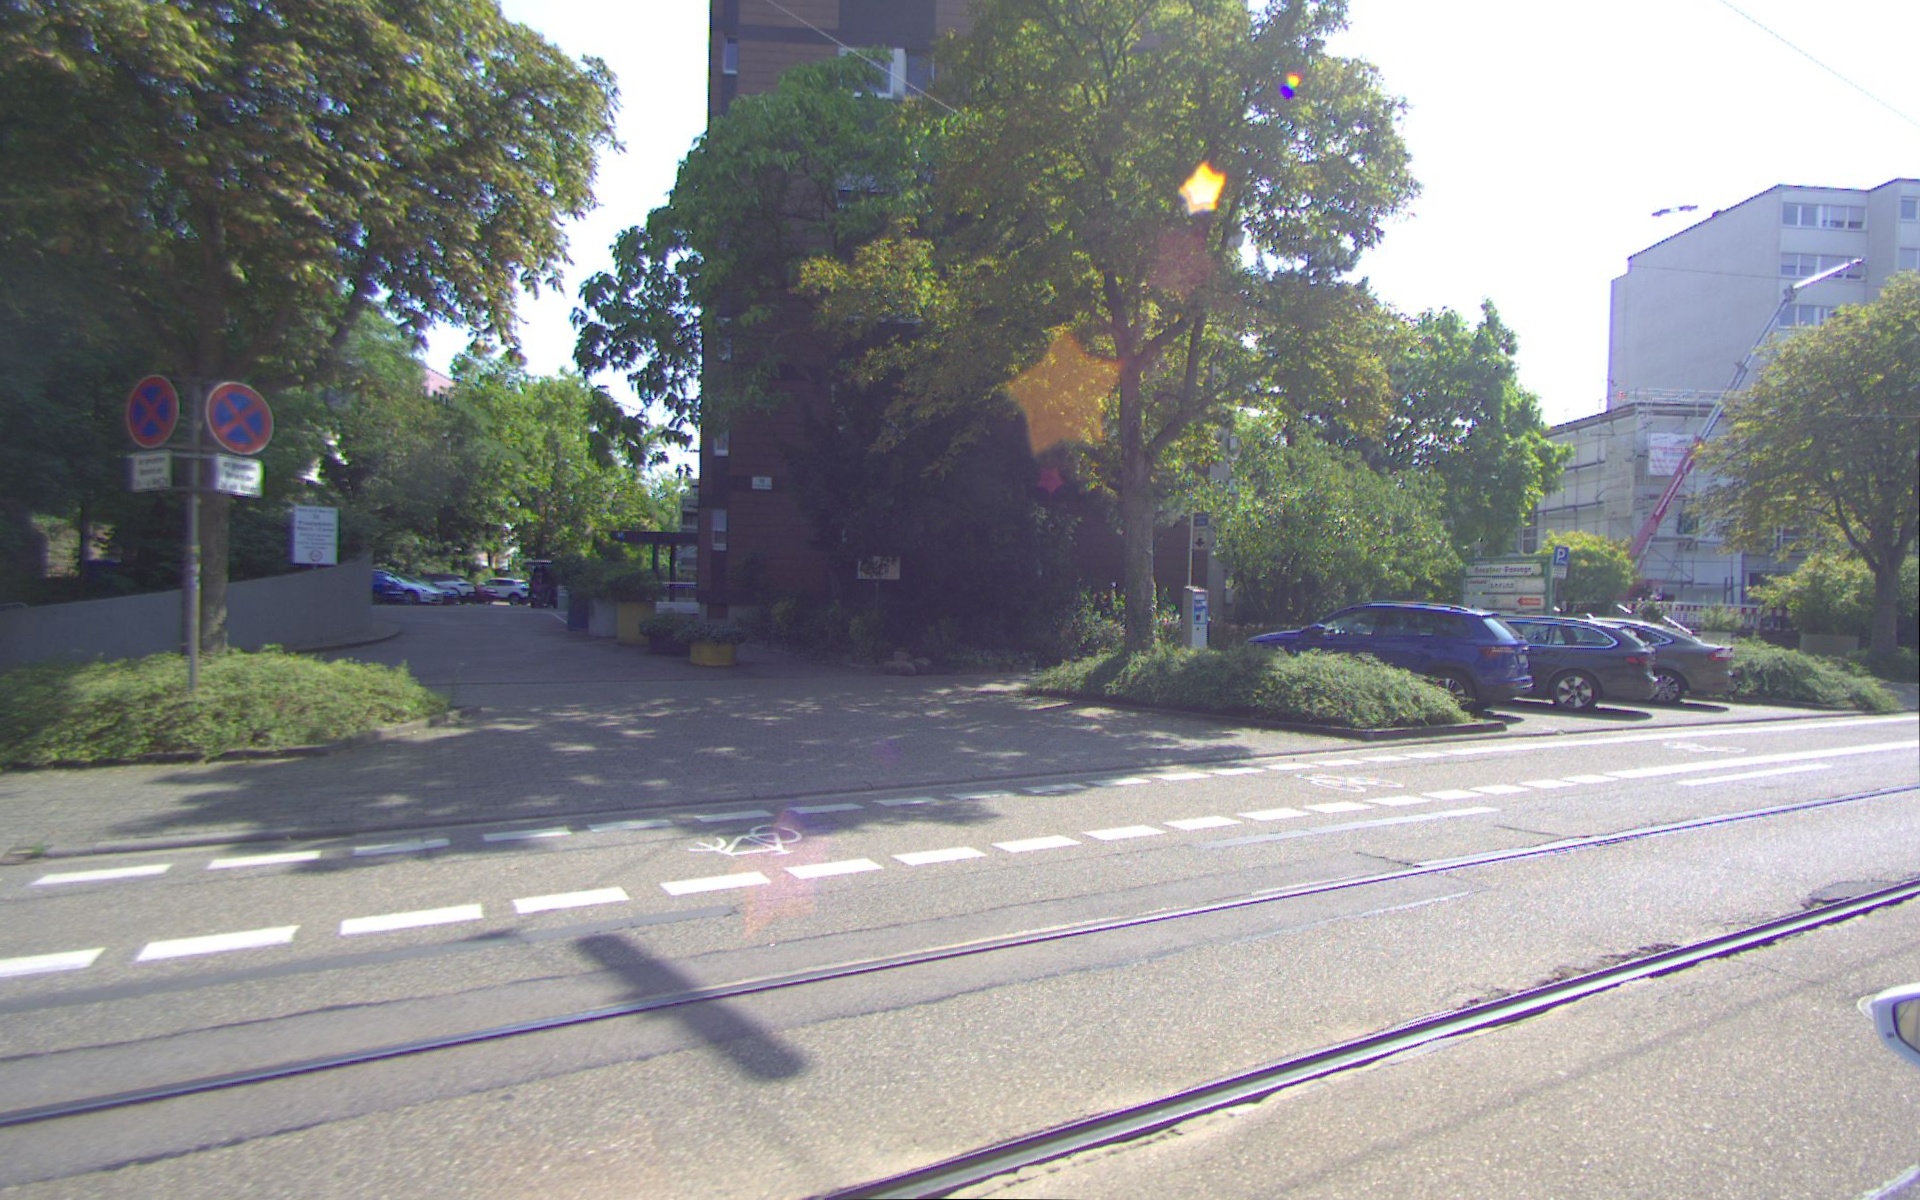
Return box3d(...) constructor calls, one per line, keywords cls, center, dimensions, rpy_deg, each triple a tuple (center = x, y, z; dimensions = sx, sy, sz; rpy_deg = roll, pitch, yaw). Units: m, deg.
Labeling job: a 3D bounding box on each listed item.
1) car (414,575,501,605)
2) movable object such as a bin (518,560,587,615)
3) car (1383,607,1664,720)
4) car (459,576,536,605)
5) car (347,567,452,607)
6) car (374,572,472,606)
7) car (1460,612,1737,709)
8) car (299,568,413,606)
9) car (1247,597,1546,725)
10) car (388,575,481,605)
box3d(cls="car", center=(-27.259, -0.543, 54.604), dimensions=(3.937, 1.506, 1.833), rpy_deg=(2, 1, -18))
box3d(cls="movable object such as a bin", center=(-18.594, -0.566, 46.009), dimensions=(1.914, 2.350, 3.662), rpy_deg=(2, 0, -6))
box3d(cls="car", center=(9.430, 0.975, 16.944), dimensions=(3.933, 1.591, 1.775), rpy_deg=(2, 0, 34))
box3d(cls="car", center=(-27.419, -0.546, 59.655), dimensions=(3.937, 1.548, 1.833), rpy_deg=(2, 1, -18))
box3d(cls="car", center=(-26.169, -0.612, 47.021), dimensions=(3.937, 1.696, 1.833), rpy_deg=(2, 1, -18))
box3d(cls="car", center=(-26.335, -0.523, 49.418), dimensions=(3.937, 1.506, 1.833), rpy_deg=(2, 1, -18))
box3d(cls="car", center=(11.958, 1.062, 19.012), dimensions=(4.225, 1.517, 1.775), rpy_deg=(2, 0, 35))
box3d(cls="car", center=(-26.647, -0.565, 44.464), dimensions=(3.937, 1.506, 1.833), rpy_deg=(2, 1, -18))
box3d(cls="car", center=(6.748, 0.847, 15.715), dimensions=(3.937, 1.670, 1.834), rpy_deg=(2, 0, 38))
box3d(cls="car", center=(-27.135, -0.493, 51.979), dimensions=(3.937, 1.400, 1.833), rpy_deg=(2, 1, -18))
